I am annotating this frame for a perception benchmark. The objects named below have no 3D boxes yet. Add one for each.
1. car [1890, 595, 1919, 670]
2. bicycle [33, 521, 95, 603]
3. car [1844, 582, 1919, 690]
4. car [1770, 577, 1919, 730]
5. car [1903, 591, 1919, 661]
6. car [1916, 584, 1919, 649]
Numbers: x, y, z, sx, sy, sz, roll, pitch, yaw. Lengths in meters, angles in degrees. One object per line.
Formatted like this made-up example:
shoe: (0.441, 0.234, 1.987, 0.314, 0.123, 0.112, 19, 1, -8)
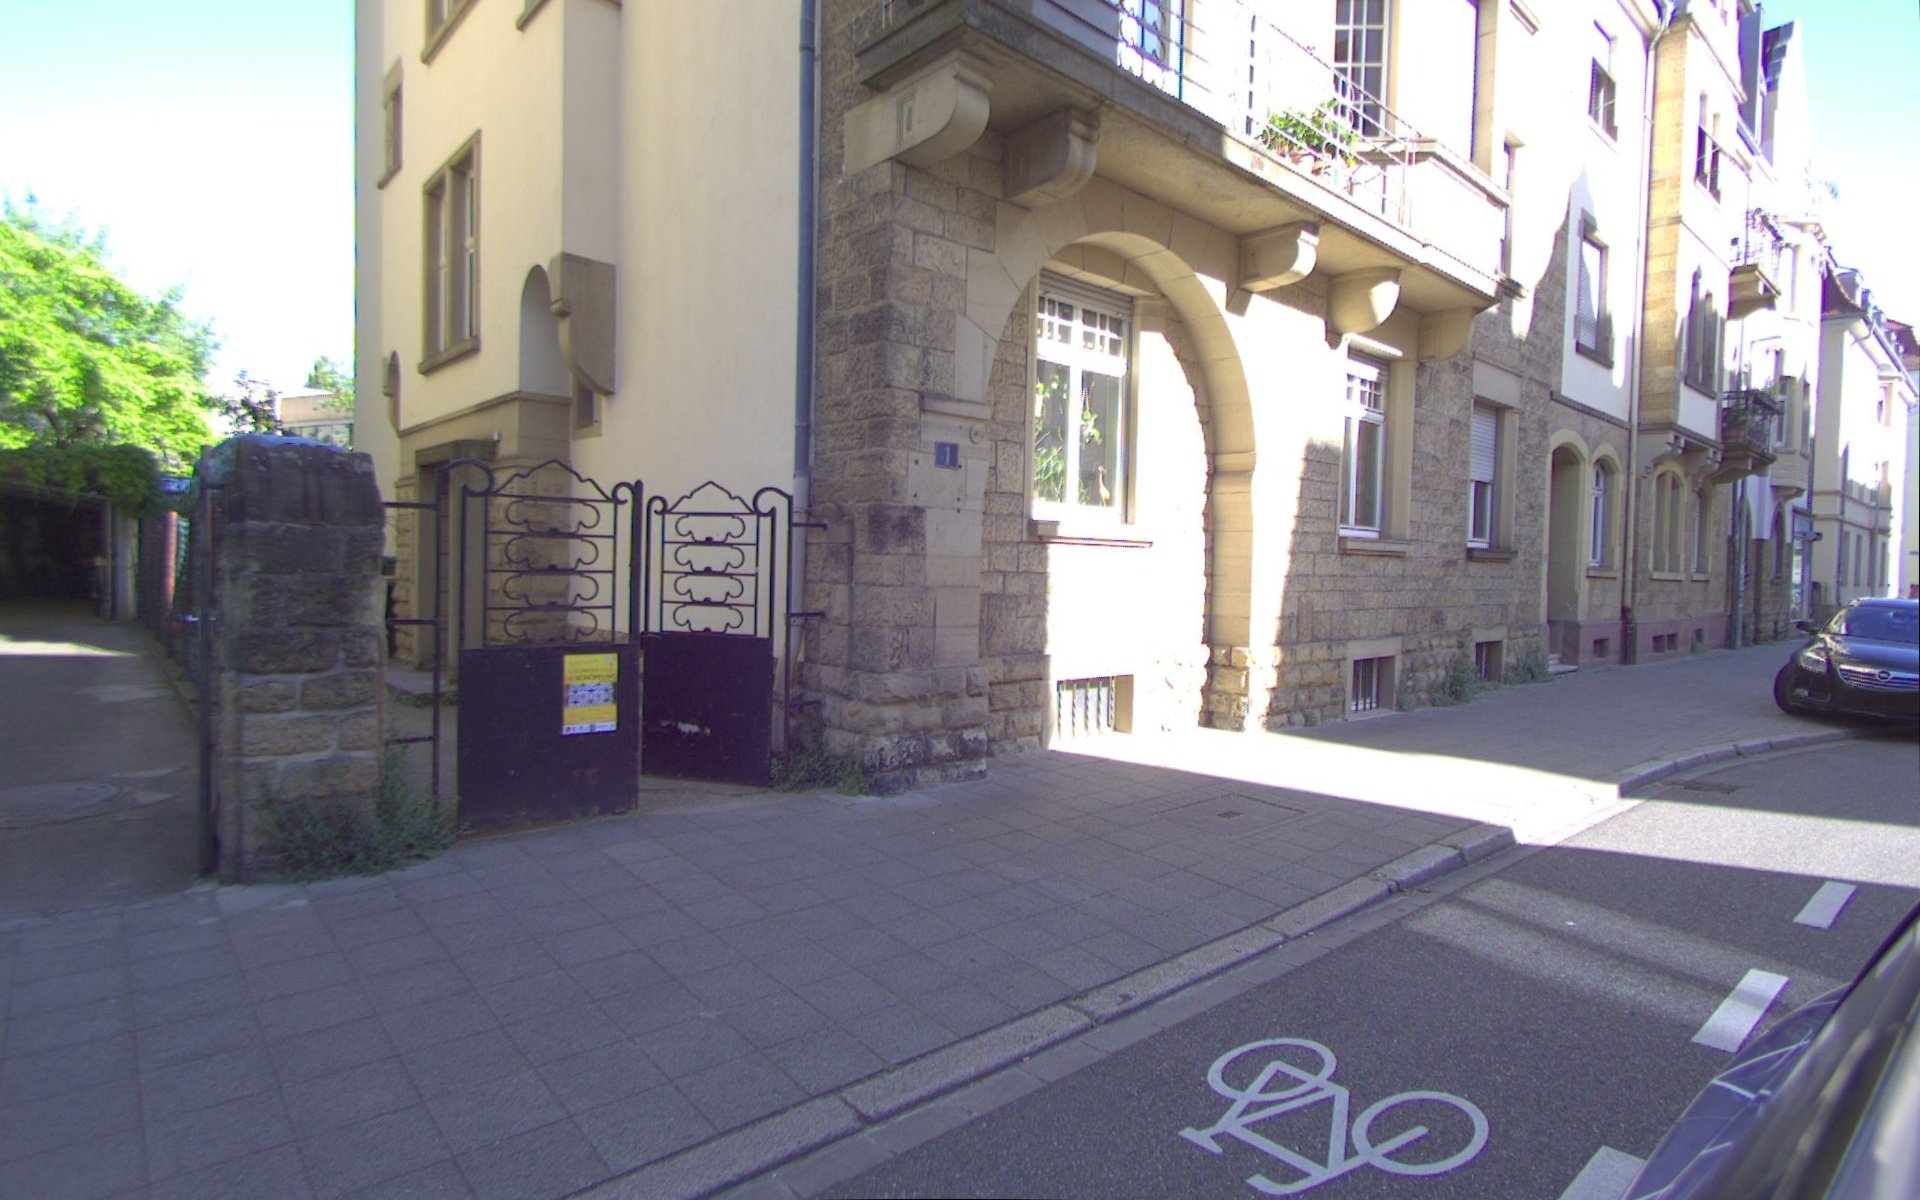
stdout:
car: (18.796, 0.611, 18.960, 3.667, 1.295, 1.659, -1, 4, -42)
bicycle: (-18.300, -0.813, 20.718, 0.903, 1.530, 2.672, 0, 4, -41)
car: (15.532, 0.558, 15.856, 4.247, 1.527, 2.004, 0, 3, -42)
car: (11.505, 0.560, 12.197, 4.043, 1.526, 2.023, -1, 5, -42)
car: (22.173, 0.573, 22.181, 4.247, 1.440, 1.823, -1, 4, -42)
car: (26.236, 0.328, 26.038, 4.247, 1.860, 2.004, -1, 4, -42)
